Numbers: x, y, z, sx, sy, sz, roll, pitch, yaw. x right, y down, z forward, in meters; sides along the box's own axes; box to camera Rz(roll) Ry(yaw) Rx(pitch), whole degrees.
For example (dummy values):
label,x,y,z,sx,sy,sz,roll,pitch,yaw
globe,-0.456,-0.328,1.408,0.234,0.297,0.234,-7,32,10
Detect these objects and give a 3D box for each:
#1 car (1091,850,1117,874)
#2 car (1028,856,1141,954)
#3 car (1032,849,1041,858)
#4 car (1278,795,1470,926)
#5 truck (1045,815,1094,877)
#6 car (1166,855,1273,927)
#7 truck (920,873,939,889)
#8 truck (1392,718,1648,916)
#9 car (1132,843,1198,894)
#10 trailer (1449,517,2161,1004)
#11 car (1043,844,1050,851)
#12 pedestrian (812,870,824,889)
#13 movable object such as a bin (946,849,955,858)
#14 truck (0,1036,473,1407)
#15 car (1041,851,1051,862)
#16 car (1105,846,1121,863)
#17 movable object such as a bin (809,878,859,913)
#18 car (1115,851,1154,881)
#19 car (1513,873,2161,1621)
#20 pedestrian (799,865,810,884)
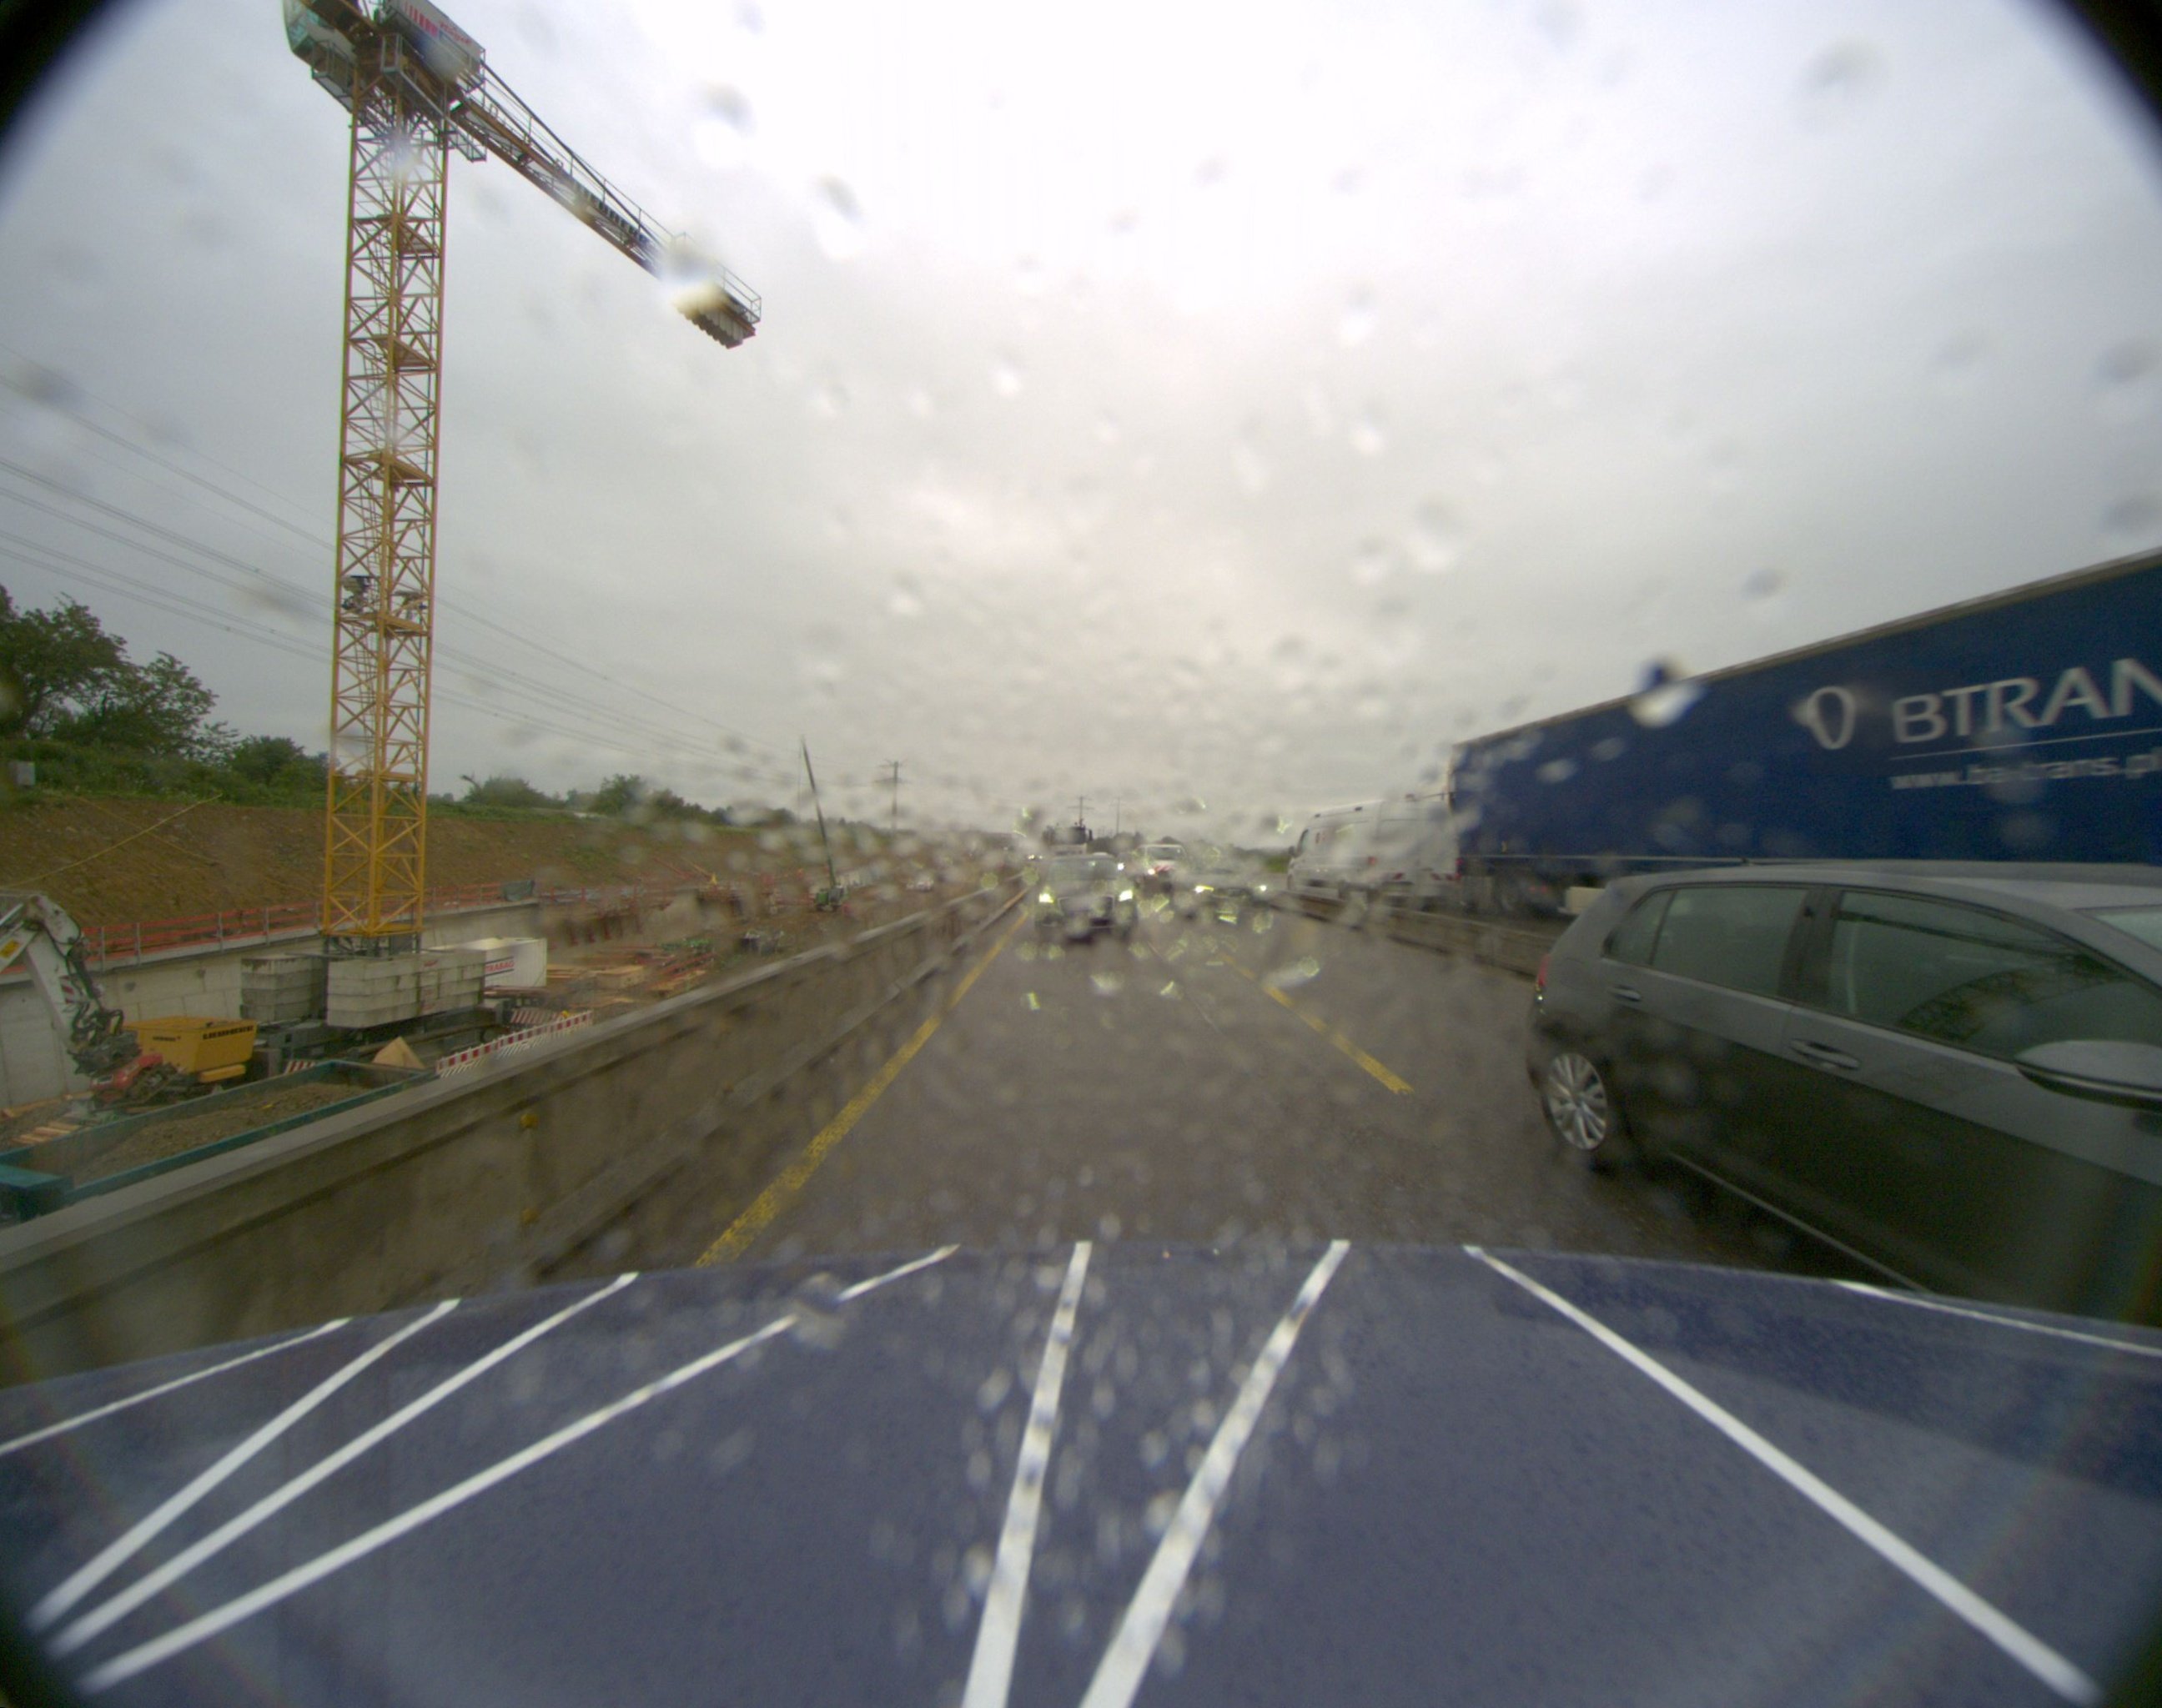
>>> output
label,x,y,z,sx,sy,sz,roll,pitch,yaw
car,1.916,0.682,64.309,1.800,1.851,4.285,-2,1,-2
car,0.078,0.838,14.604,1.799,1.524,4.307,-2,0,1
car,-9.970,-0.150,171.603,1.800,1.851,4.285,-2,1,-1
car,6.935,0.148,19.101,2.011,2.638,6.884,-2,0,-1
truck,-0.816,-0.560,49.917,2.837,3.617,9.117,-2,1,-2
car,3.192,0.783,18.287,1.799,1.389,4.268,-2,1,1
truck,-20.849,3.675,104.618,1.767,1.860,5.783,0,1,-4
truck,10.275,-0.758,18.623,2.795,4.011,5.819,-2,0,0
car,3.347,0.532,31.425,2.161,1.848,5.178,-2,1,1
trailer,10.314,-0.772,11.447,2.786,4.011,13.740,-2,0,0
car,-9.151,-1.656,202.878,1.800,1.851,4.285,-2,1,-1
pedestrian,-33.304,3.244,96.319,0.917,2.219,1.005,-6,3,0
movable object such as a bin,-39.282,-0.171,228.806,2.253,2.704,3.997,-2,1,-7
truck,-16.338,6.137,13.379,2.704,3.483,8.954,-1,1,12
car,-6.830,0.466,149.399,1.800,1.851,4.285,-2,1,-2
car,3.858,0.055,92.564,1.799,1.851,4.286,-2,1,1
movable object such as a bin,-25.553,4.263,78.859,3.803,2.791,4.848,-1,6,-5
car,3.053,0.674,44.107,1.800,1.521,4.066,-2,1,-1
car,3.061,0.862,1.919,1.653,1.414,4.080,-1,1,1
pedestrian,-35.041,2.582,96.299,0.918,2.234,1.005,-6,3,-7
